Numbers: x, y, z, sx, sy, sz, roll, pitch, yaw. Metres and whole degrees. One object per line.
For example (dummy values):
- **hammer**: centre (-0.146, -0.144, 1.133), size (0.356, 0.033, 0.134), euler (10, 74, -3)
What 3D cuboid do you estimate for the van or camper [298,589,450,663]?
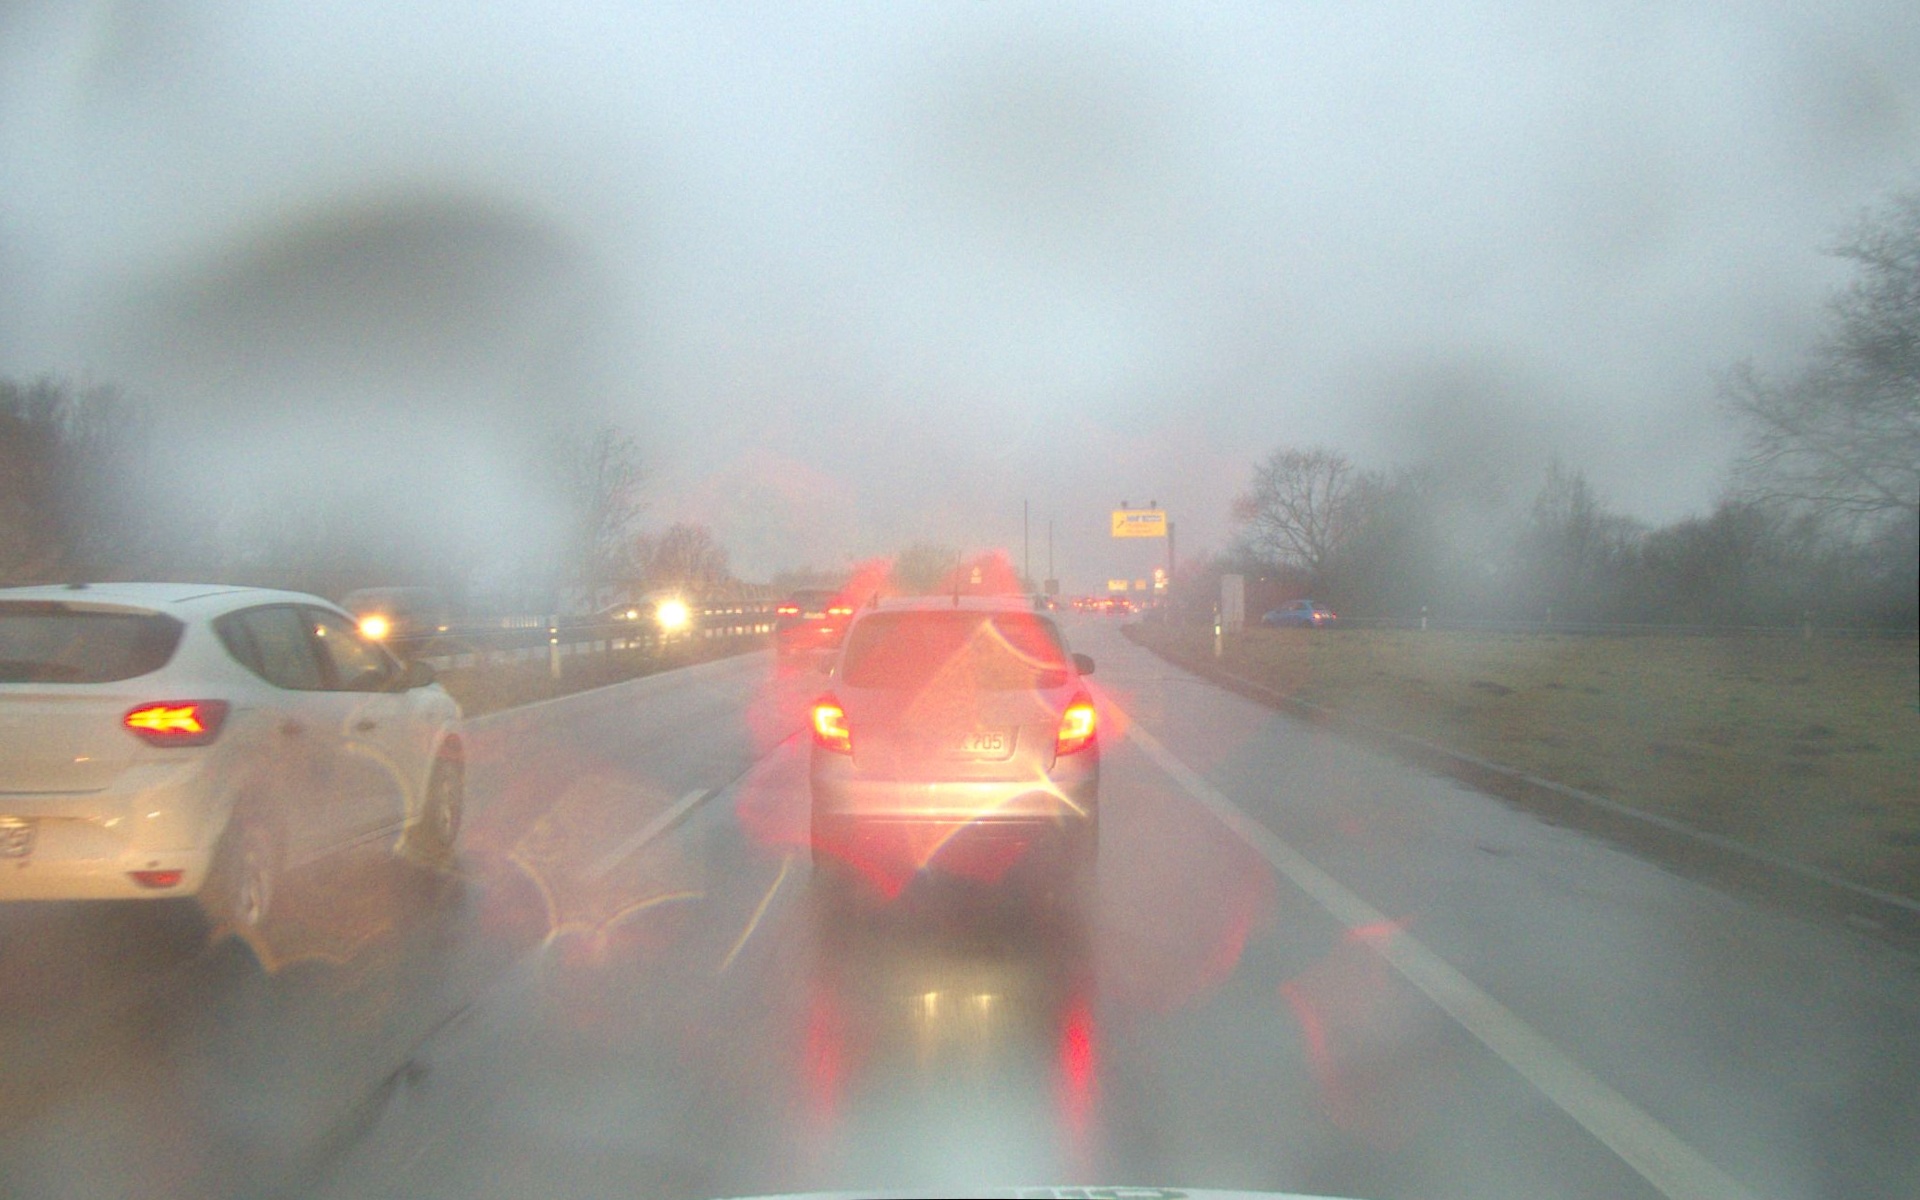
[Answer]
- **van or camper**: centre (-14.743, 0.612, 41.931), size (1.724, 1.766, 4.887), euler (0, 0, 6)

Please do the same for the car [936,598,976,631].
- **car**: centre (-0.173, 0.675, 81.255), size (1.752, 1.572, 4.001), euler (-1, 0, 2)

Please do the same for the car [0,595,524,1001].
- **car**: centre (-3.623, 0.722, 8.122), size (1.688, 1.465, 4.227), euler (-1, 0, 2)

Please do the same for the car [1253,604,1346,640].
- **car**: centre (15.324, 0.979, 74.825), size (1.777, 1.572, 3.945), euler (0, 0, -38)

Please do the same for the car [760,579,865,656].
- **car**: centre (-3.352, 0.374, 38.361), size (1.952, 1.629, 4.309), euler (1, 0, 1)

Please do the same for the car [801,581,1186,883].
- **car**: centre (0.215, 0.682, 10.497), size (1.952, 1.527, 4.138), euler (0, 0, 1)

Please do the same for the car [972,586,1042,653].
- **car**: centre (1.342, 0.521, 46.449), size (1.858, 1.798, 4.310), euler (-1, 0, 2)

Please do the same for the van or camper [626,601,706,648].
- **van or camper**: centre (-9.850, 0.787, 55.760), size (1.494, 1.507, 4.437), euler (-1, 0, 6)
